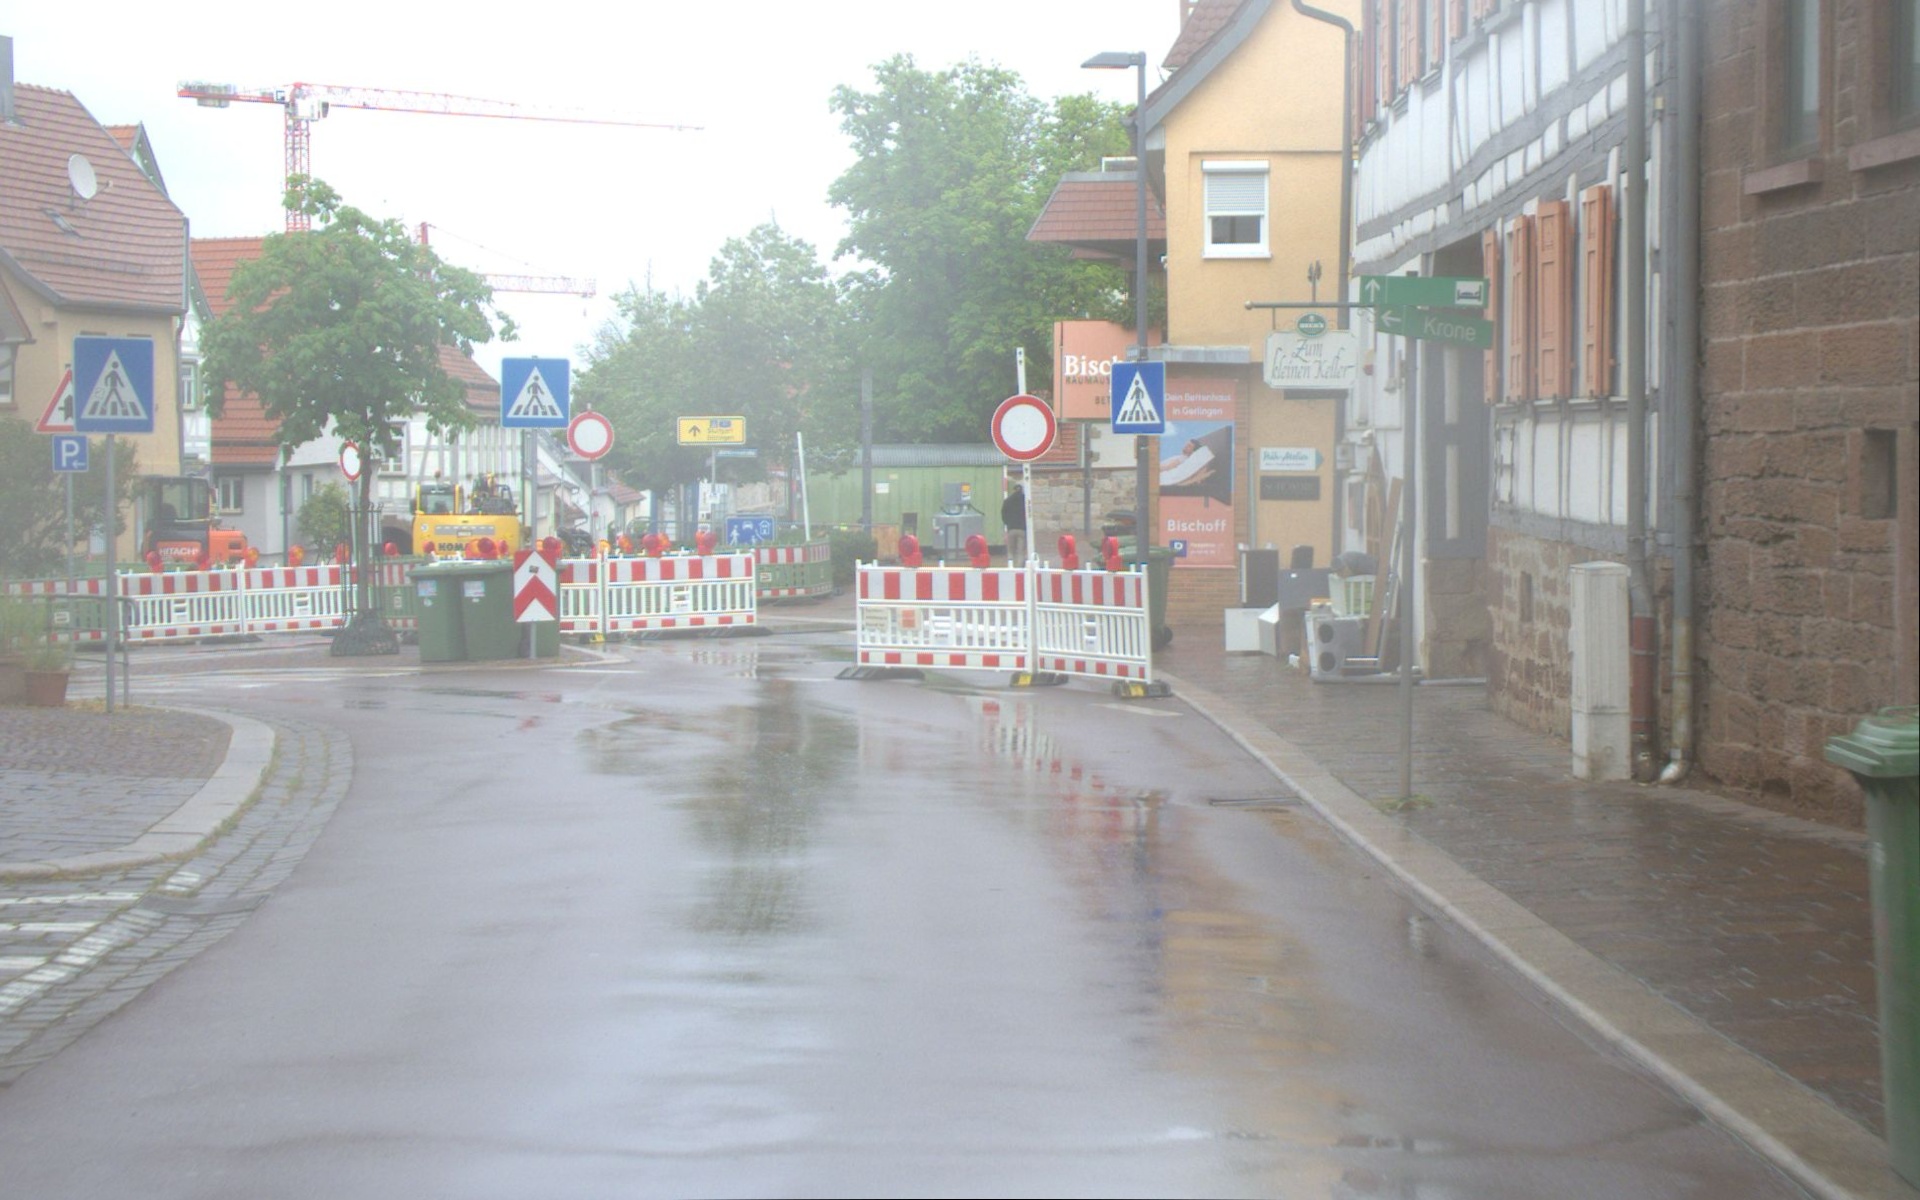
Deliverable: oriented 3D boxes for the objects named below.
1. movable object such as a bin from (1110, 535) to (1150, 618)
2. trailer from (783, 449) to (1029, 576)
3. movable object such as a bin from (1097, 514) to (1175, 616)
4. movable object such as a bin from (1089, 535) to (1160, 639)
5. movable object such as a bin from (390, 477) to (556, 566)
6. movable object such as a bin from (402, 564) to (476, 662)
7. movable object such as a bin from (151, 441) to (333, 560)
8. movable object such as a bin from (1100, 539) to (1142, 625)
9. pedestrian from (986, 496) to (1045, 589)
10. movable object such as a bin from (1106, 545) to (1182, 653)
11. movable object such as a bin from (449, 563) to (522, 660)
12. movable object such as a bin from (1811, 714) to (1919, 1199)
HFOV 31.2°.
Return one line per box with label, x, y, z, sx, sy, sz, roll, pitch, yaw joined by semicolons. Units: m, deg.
movable object such as a bin;2.390;-0.327;48.309;0.516;1.124;0.580;-2;2;3
trailer;-1.342;-2.113;83.741;5.780;2.937;2.000;1;1;-5
movable object such as a bin;2.731;-0.553;53.176;1.065;1.507;1.242;-2;1;7
movable object such as a bin;1.724;-0.136;35.930;0.616;1.062;0.539;-1;0;16
movable object such as a bin;-11.566;-1.849;81.954;3.402;2.007;3.479;1;1;1
movable object such as a bin;-5.610;0.142;37.016;0.541;1.033;0.571;-1;-1;33
movable object such as a bin;-12.757;-1.736;61.345;1.905;2.007;3.999;-1;0;8
movable object such as a bin;2.172;-0.249;46.463;0.517;1.128;0.580;-2;2;3
pedestrian;1.061;-1.094;65.943;0.990;1.753;0.852;1;1;-7
movable object such as a bin;1.882;-0.014;35.201;0.678;1.062;0.540;-1;3;-8
movable object such as a bin;-5.068;0.124;36.687;0.544;1.029;0.533;-1;-1;33
movable object such as a bin;2.301;0.836;7.699;0.609;1.124;0.599;1;1;-1
